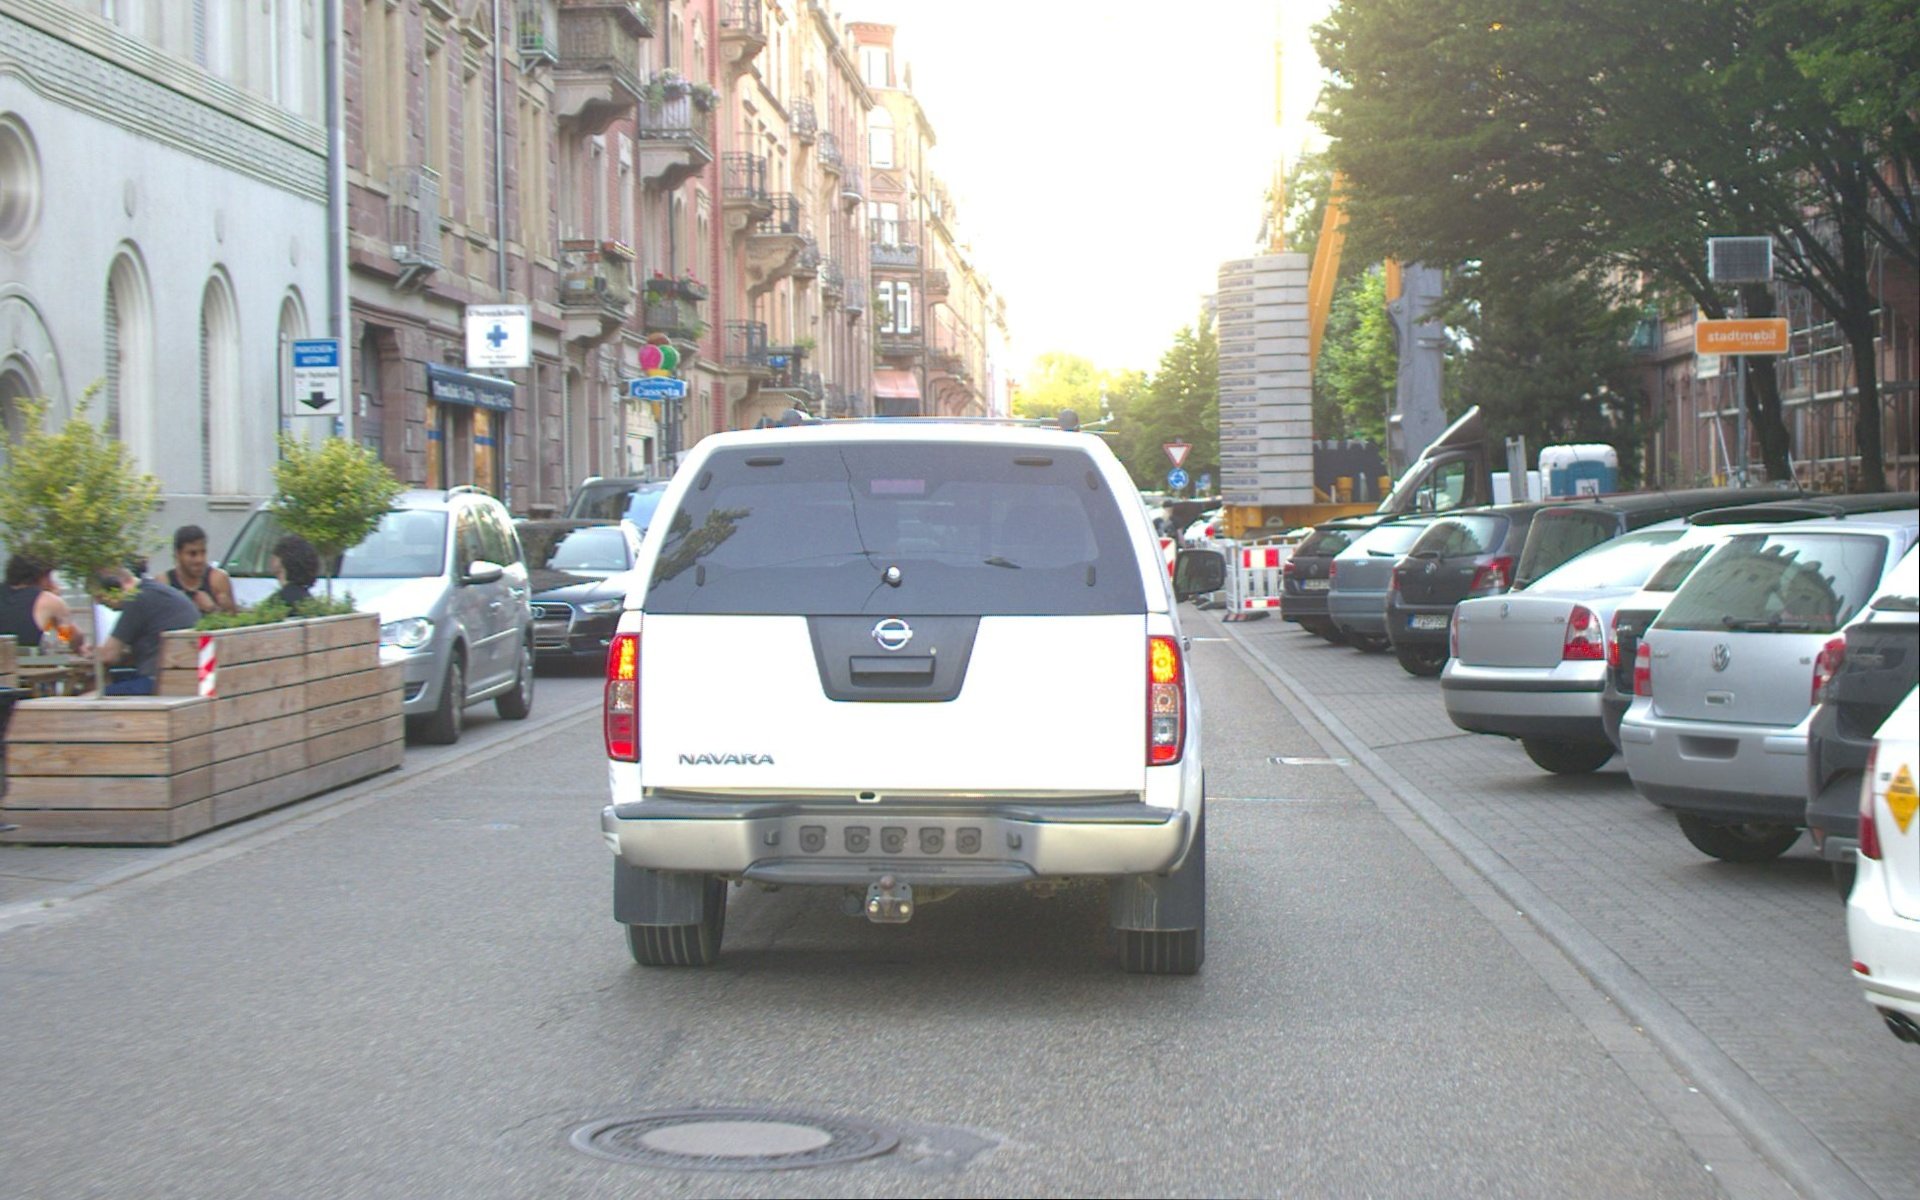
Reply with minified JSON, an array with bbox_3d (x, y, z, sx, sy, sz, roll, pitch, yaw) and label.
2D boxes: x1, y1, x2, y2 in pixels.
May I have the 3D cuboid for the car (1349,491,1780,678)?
[{"bbox_3d":[5.401,-0.182,30.720,3.396,1.469,1.775,-3,3,-28],"label":"car"}]

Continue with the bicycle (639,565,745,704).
[{"bbox_3d":[-2.131,0.257,27.518,0.614,1.036,1.904,-1,1,2],"label":"bicycle"}]

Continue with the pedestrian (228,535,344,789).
[{"bbox_3d":[-3.644,0.323,18.619,0.484,1.345,0.669,0,1,1],"label":"pedestrian"}]

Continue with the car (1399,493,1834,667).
[{"bbox_3d":[6.455,-0.217,33.808,3.824,1.525,1.763,-2,1,-23],"label":"car"}]

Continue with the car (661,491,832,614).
[{"bbox_3d":[-2.998,-0.707,48.978,1.905,1.657,4.067,-1,1,4],"label":"car"}]

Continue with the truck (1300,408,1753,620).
[{"bbox_3d":[8.183,-1.227,50.194,6.321,2.966,2.264,0,-1,4],"label":"truck"}]

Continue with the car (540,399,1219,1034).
[{"bbox_3d":[-0.088,0.268,12.250,1.933,1.788,4.621,1,2,4],"label":"car"}]

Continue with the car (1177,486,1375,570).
[{"bbox_3d":[6.834,-1.563,74.405,4.196,1.774,1.819,0,1,5],"label":"car"}]

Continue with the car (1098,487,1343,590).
[{"bbox_3d":[4.639,-1.099,60.944,4.197,1.774,1.819,0,1,8],"label":"car"}]

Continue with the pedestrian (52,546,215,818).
[{"bbox_3d":[-4.113,0.395,17.145,0.609,1.320,0.770,0,1,1],"label":"pedestrian"}]

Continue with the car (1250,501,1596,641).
[{"bbox_3d":[5.328,-0.360,39.395,3.882,1.525,1.637,-1,2,-37],"label":"car"}]

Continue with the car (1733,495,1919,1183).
[{"bbox_3d":[3.991,0.492,8.422,3.986,1.531,1.636,-2,2,-28],"label":"car"}]

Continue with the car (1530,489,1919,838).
[{"bbox_3d":[4.719,0.226,16.658,3.593,1.529,1.563,-2,2,-25],"label":"car"}]

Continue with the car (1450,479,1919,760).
[{"bbox_3d":[5.383,0.061,22.190,3.986,1.631,1.759,-2,2,-17],"label":"car"}]

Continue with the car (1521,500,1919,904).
[{"bbox_3d":[4.319,0.322,14.179,3.593,1.477,1.723,-2,2,-25],"label":"car"}]

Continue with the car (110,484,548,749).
[{"bbox_3d":[-4.096,0.044,23.062,1.993,1.586,4.314,-1,1,2],"label":"car"}]

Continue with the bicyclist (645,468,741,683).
[{"bbox_3d":[-2.132,-0.204,27.531,0.603,1.679,1.142,-1,1,3],"label":"bicyclist"}]

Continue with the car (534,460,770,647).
[{"bbox_3d":[-3.315,-0.552,37.931,1.905,1.919,4.947,0,2,3],"label":"car"}]

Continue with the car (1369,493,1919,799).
[{"bbox_3d":[4.660,0.181,19.179,4.371,1.529,1.808,-1,2,-21],"label":"car"}]

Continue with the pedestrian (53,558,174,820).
[{"bbox_3d":[-4.444,0.456,18.064,0.468,1.345,0.611,0,1,1],"label":"pedestrian"}]

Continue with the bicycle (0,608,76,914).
[{"bbox_3d":[-4.374,0.574,13.151,2.113,1.091,0.500,1,3,27],"label":"bicycle"}]

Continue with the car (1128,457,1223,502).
[{"bbox_3d":[10.624,-5.933,169.364,4.589,2.170,1.819,0,1,6],"label":"car"}]

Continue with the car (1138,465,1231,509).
[{"bbox_3d":[11.331,-5.703,173.270,4.589,2.170,1.819,0,1,6],"label":"car"}]

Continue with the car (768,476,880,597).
[{"bbox_3d":[-2.241,-1.072,57.462,1.559,1.914,3.856,1,2,2],"label":"car"}]

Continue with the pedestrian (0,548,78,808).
[{"bbox_3d":[-4.978,0.400,18.149,0.468,1.345,0.611,0,1,1],"label":"pedestrian"}]

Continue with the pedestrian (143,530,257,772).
[{"bbox_3d":[-4.280,0.278,19.381,0.516,1.345,0.540,0,1,0],"label":"pedestrian"}]

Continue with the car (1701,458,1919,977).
[{"bbox_3d":[4.414,0.308,11.415,3.594,1.575,1.716,-2,2,-30],"label":"car"}]

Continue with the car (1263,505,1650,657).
[{"bbox_3d":[5.321,-0.237,36.723,3.825,1.432,1.762,-3,3,-32],"label":"car"}]

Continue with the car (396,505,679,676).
[{"bbox_3d":[-3.849,-0.138,32.077,1.912,1.467,4.534,1,1,2],"label":"car"}]
